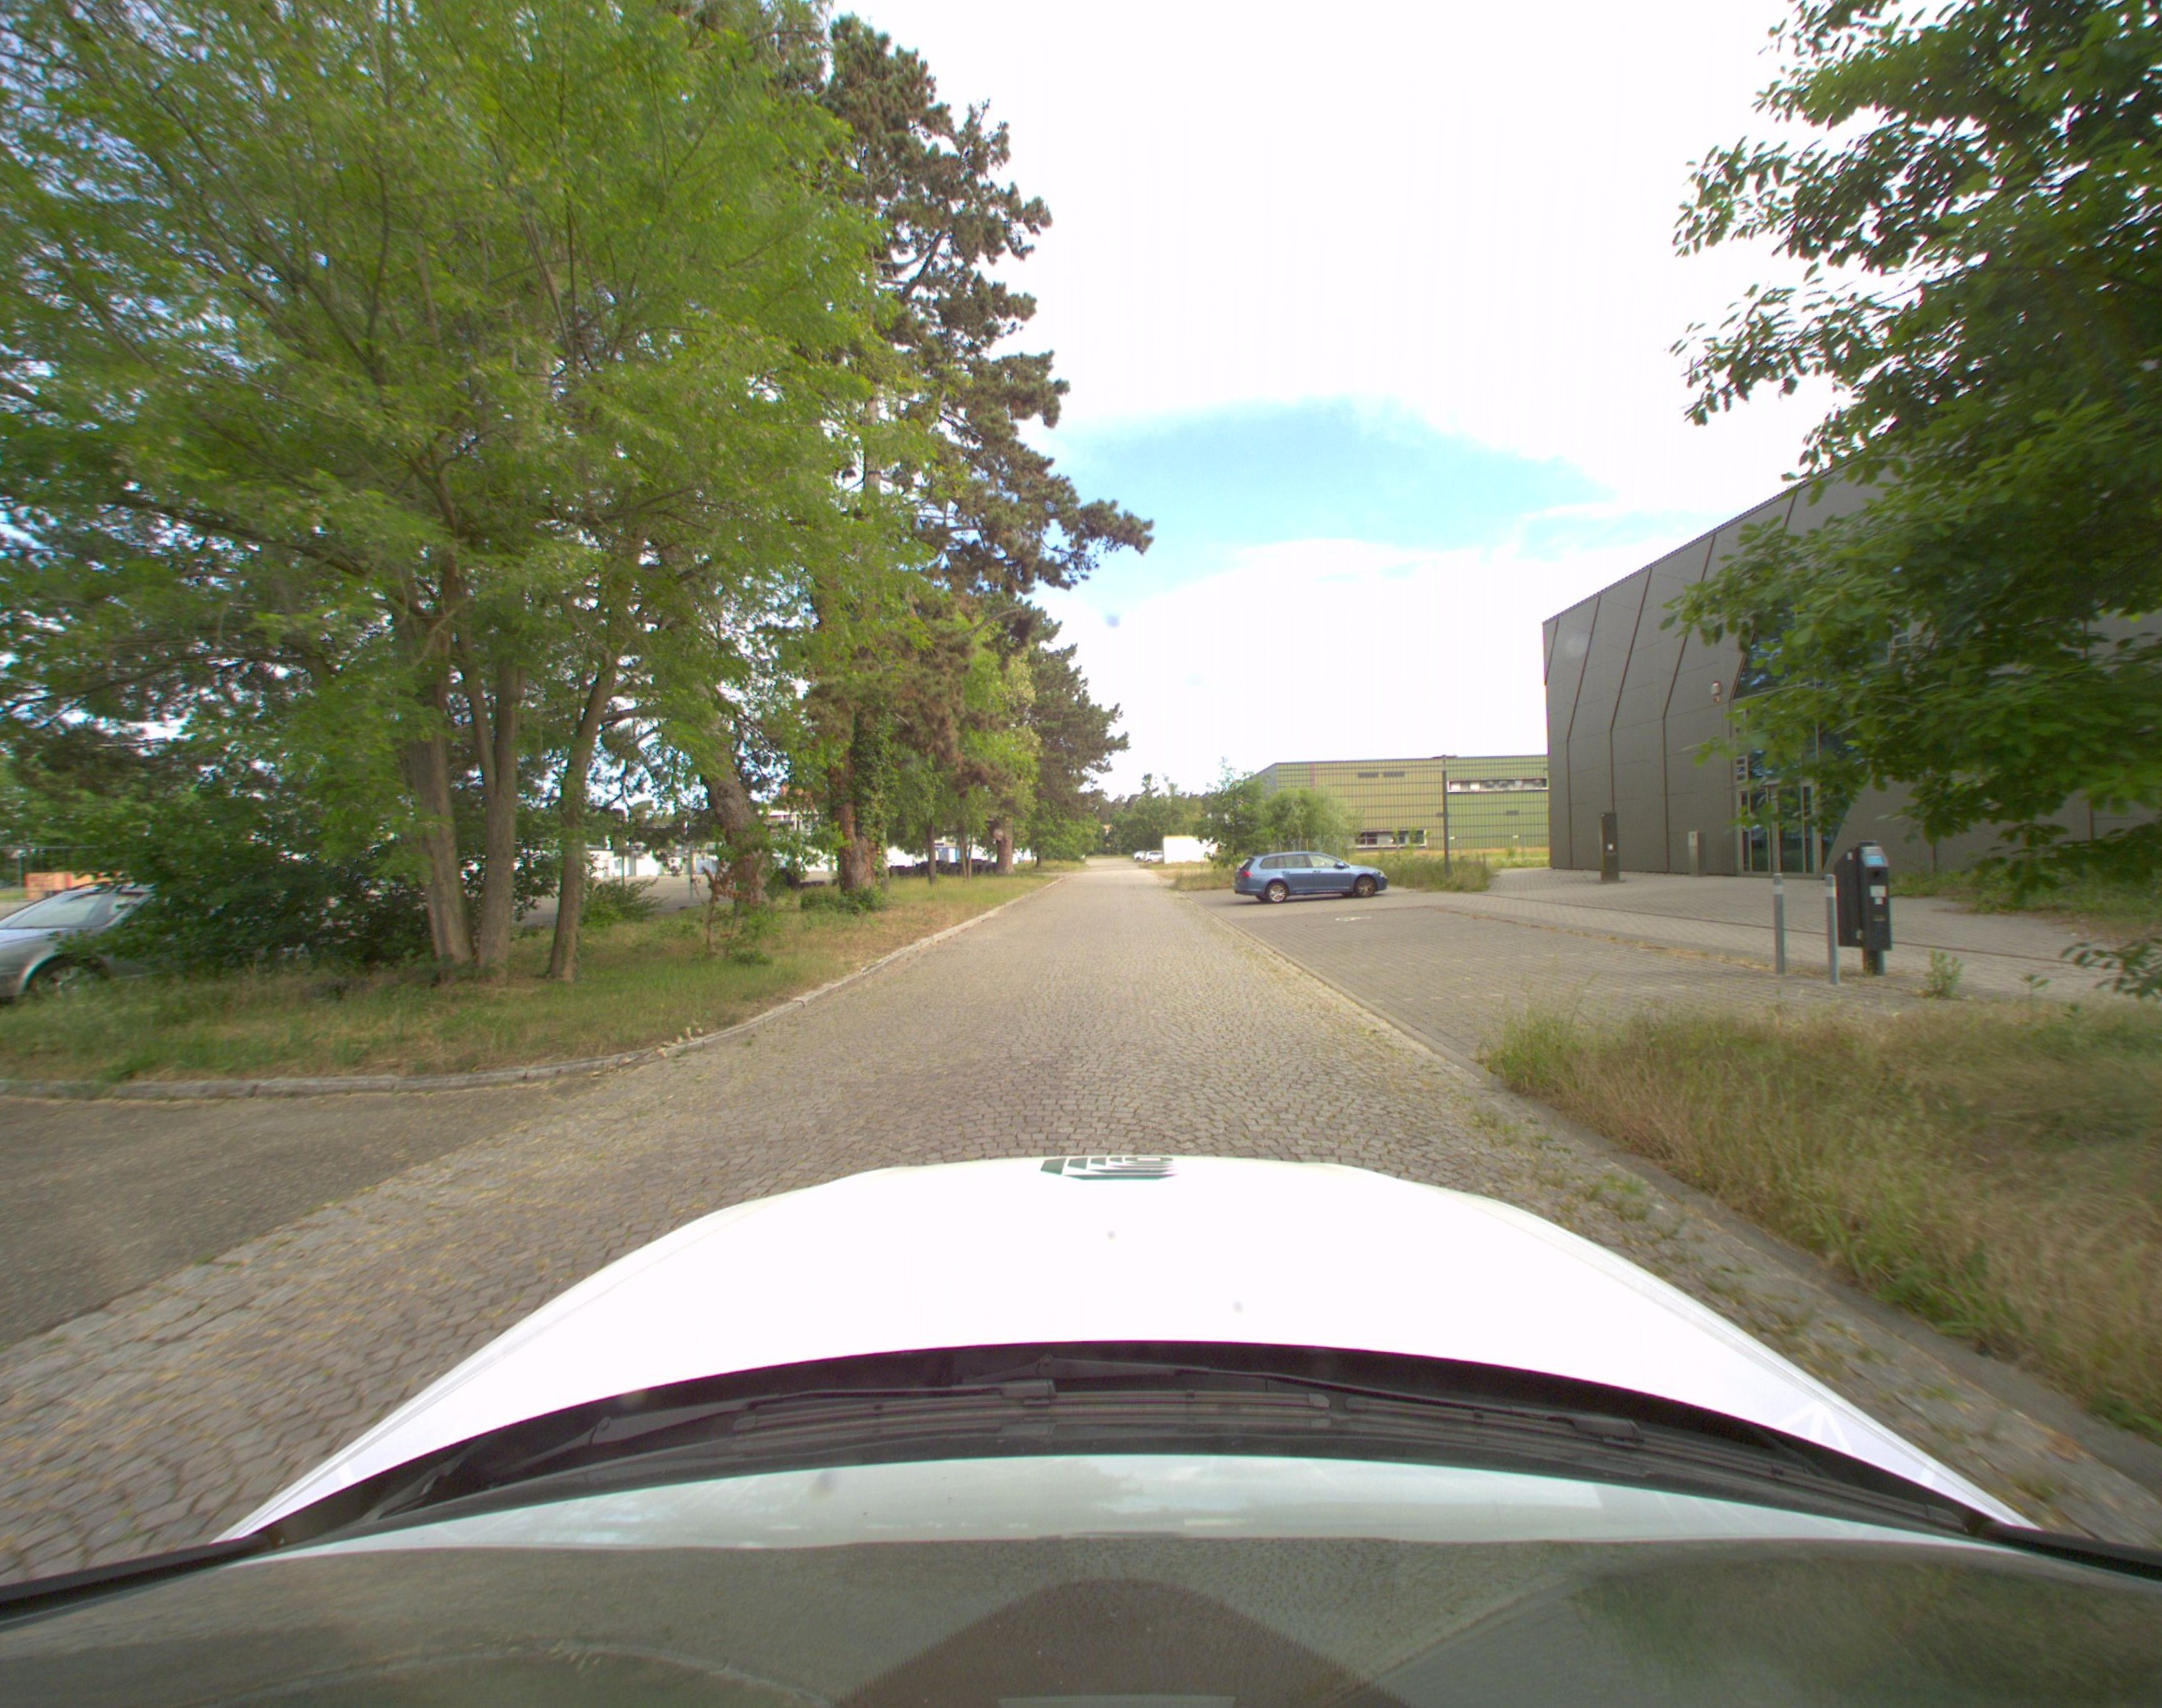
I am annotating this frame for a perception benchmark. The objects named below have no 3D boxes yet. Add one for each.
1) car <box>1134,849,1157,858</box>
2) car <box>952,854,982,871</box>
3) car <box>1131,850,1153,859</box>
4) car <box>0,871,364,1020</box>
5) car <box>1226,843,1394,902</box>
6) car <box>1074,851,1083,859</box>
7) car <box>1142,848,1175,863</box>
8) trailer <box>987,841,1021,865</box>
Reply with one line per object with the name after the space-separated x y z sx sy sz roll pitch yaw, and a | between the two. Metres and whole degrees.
11.352 -0.064 144.253 4.008 1.502 1.549 -2 0 3 | car
-10.268 0.774 73.864 1.757 1.453 3.496 -2 0 8 | car
11.254 0.046 149.816 3.975 1.601 1.729 -2 0 -1 | car
-12.190 1.024 10.612 1.710 1.438 4.466 -1 0 0 | car
6.820 0.538 24.581 4.509 1.443 1.822 -3 0 -2 | car
-0.579 0.229 163.662 1.729 1.469 4.045 -2 0 0 | car
9.304 0.203 98.117 3.838 1.654 1.686 -2 0 -1 | car
-10.460 -0.126 111.356 3.144 3.067 8.794 -2 0 4 | trailer
